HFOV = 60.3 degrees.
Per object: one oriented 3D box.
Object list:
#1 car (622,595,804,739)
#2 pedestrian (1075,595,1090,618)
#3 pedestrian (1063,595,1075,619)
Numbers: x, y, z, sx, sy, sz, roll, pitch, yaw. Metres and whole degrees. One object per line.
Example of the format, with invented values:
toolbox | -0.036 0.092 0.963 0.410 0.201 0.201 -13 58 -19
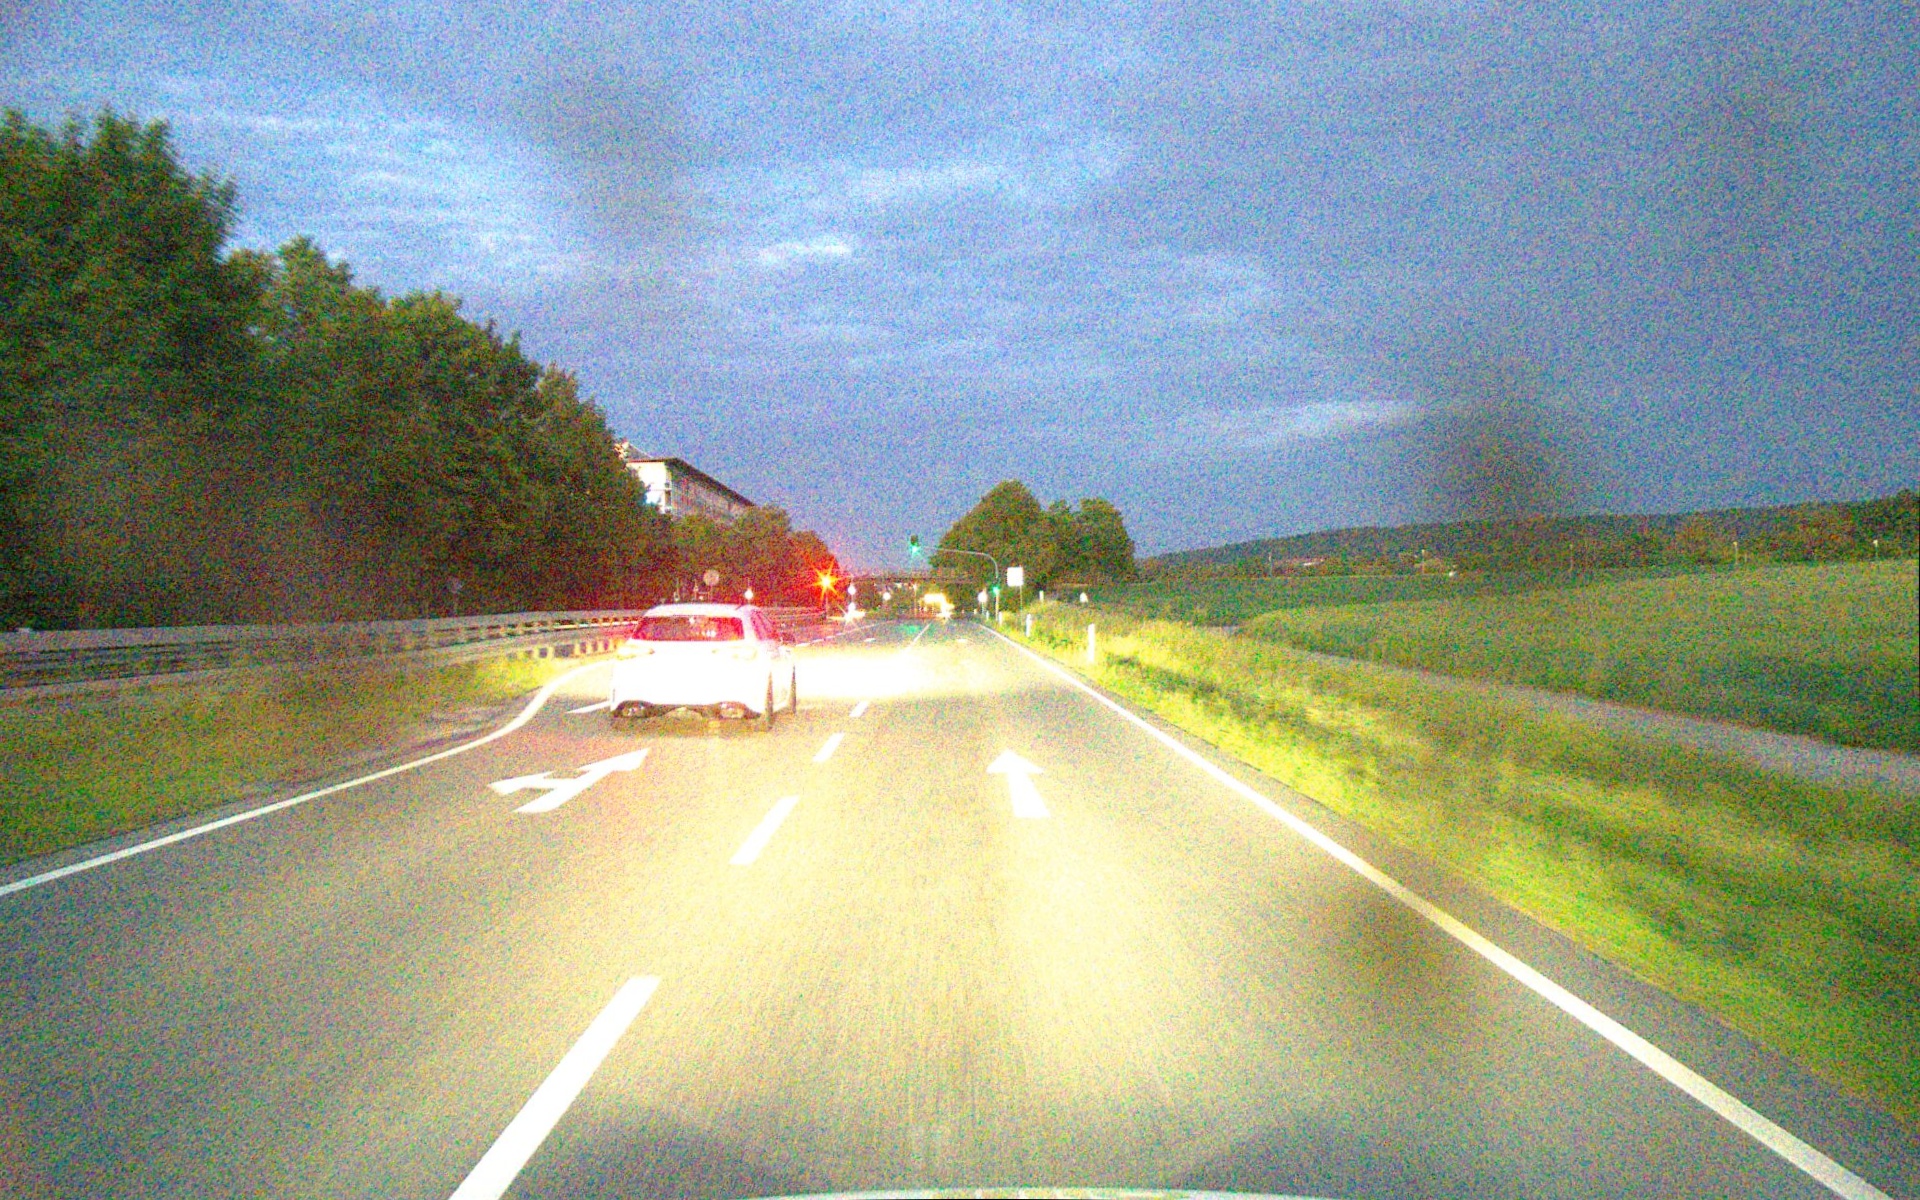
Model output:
car | -2.848 0.711 19.902 1.609 1.516 4.578 0 0 -2
pedestrian | 9.662 0.508 130.139 1.068 1.753 1.260 0 -1 -1
pedestrian | 8.575 0.538 130.057 0.903 1.824 1.106 0 0 -1
